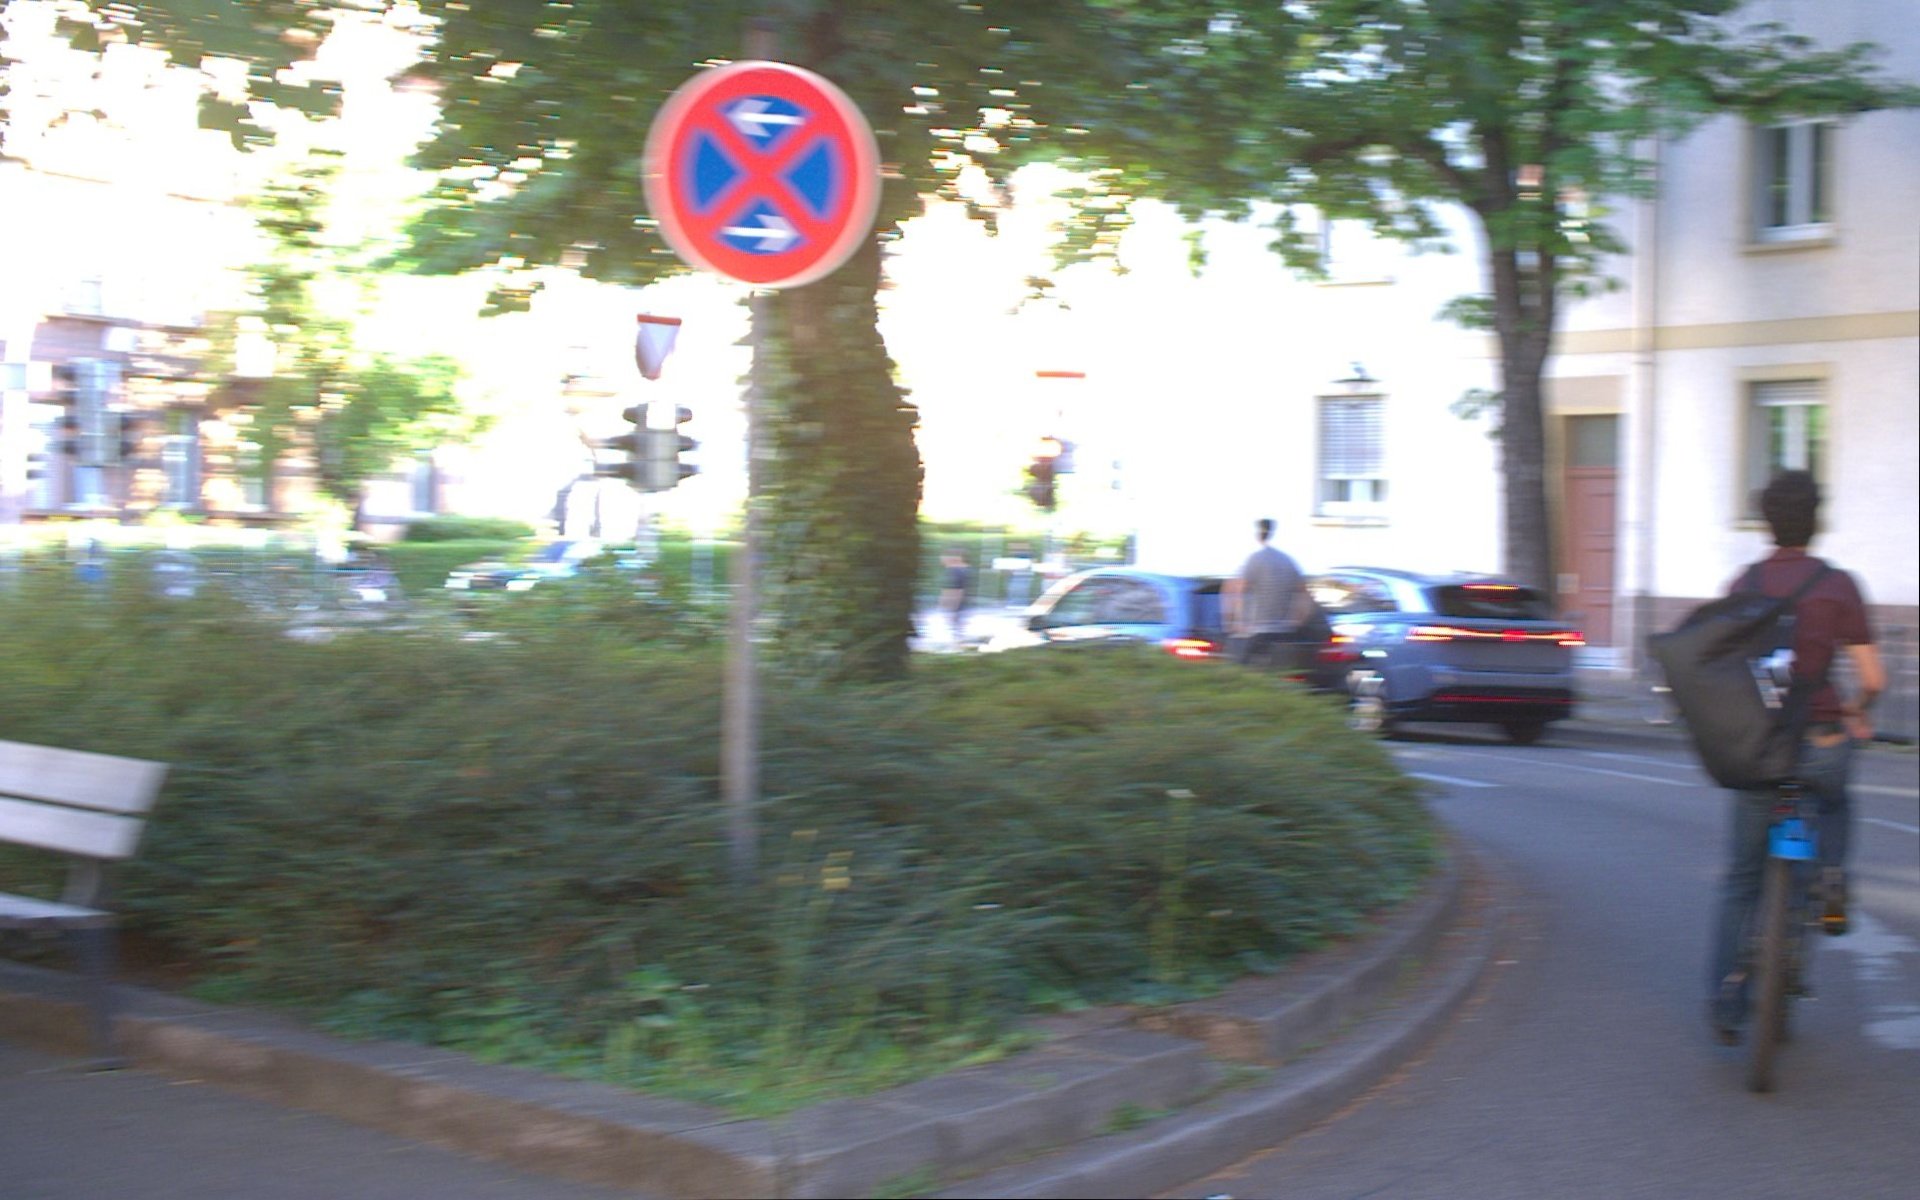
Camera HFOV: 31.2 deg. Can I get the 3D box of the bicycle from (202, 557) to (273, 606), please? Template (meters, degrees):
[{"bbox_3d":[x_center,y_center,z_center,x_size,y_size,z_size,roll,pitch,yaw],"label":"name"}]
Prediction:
[{"bbox_3d":[-13.178,-0.331,62.713,0.450,0.859,1.221,2,1,42],"label":"bicycle"}]

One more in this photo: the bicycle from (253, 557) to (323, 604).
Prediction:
[{"bbox_3d":[-12.436,-0.359,63.663,0.450,0.859,1.221,2,1,42],"label":"bicycle"}]

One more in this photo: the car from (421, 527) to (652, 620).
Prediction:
[{"bbox_3d":[-7.535,-0.506,61.597,1.996,1.491,4.368,2,3,27],"label":"car"}]

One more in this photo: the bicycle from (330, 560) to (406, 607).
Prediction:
[{"bbox_3d":[-11.331,-0.313,65.854,0.450,0.859,1.443,2,1,42],"label":"bicycle"}]

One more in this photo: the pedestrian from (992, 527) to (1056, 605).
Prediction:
[{"bbox_3d":[1.651,-0.866,88.544,1.159,1.955,1.386,2,1,22],"label":"pedestrian"}]

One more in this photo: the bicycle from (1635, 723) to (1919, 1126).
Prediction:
[{"bbox_3d":[2.601,0.938,10.617,0.675,1.050,2.059,1,0,21],"label":"bicycle"}]

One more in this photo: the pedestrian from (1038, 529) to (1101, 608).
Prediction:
[{"bbox_3d":[2.800,-0.803,87.968,1.159,1.955,1.386,2,1,22],"label":"pedestrian"}]

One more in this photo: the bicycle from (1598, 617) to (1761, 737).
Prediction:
[{"bbox_3d":[6.549,0.684,31.416,0.520,0.995,2.192,1,1,-14],"label":"bicycle"}]

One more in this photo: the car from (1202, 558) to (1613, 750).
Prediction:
[{"bbox_3d":[4.005,0.452,31.458,1.891,1.572,4.001,1,1,-24],"label":"car"}]

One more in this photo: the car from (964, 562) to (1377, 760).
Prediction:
[{"bbox_3d":[1.717,0.459,29.444,1.812,1.538,3.959,-1,1,-26],"label":"car"}]

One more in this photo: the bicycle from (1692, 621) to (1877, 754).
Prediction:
[{"bbox_3d":[7.158,0.744,29.935,0.616,1.054,1.929,-1,2,-20],"label":"bicycle"}]

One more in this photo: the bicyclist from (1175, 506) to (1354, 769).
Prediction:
[{"bbox_3d":[2.243,0.263,25.433,0.850,1.892,1.140,1,1,-22],"label":"bicyclist"}]

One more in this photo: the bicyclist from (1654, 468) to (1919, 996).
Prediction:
[{"bbox_3d":[2.539,0.372,10.438,0.672,1.509,1.068,1,0,20],"label":"bicyclist"}]

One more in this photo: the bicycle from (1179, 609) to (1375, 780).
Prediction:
[{"bbox_3d":[2.311,0.674,25.337,0.597,1.158,2.042,1,1,-20],"label":"bicycle"}]
